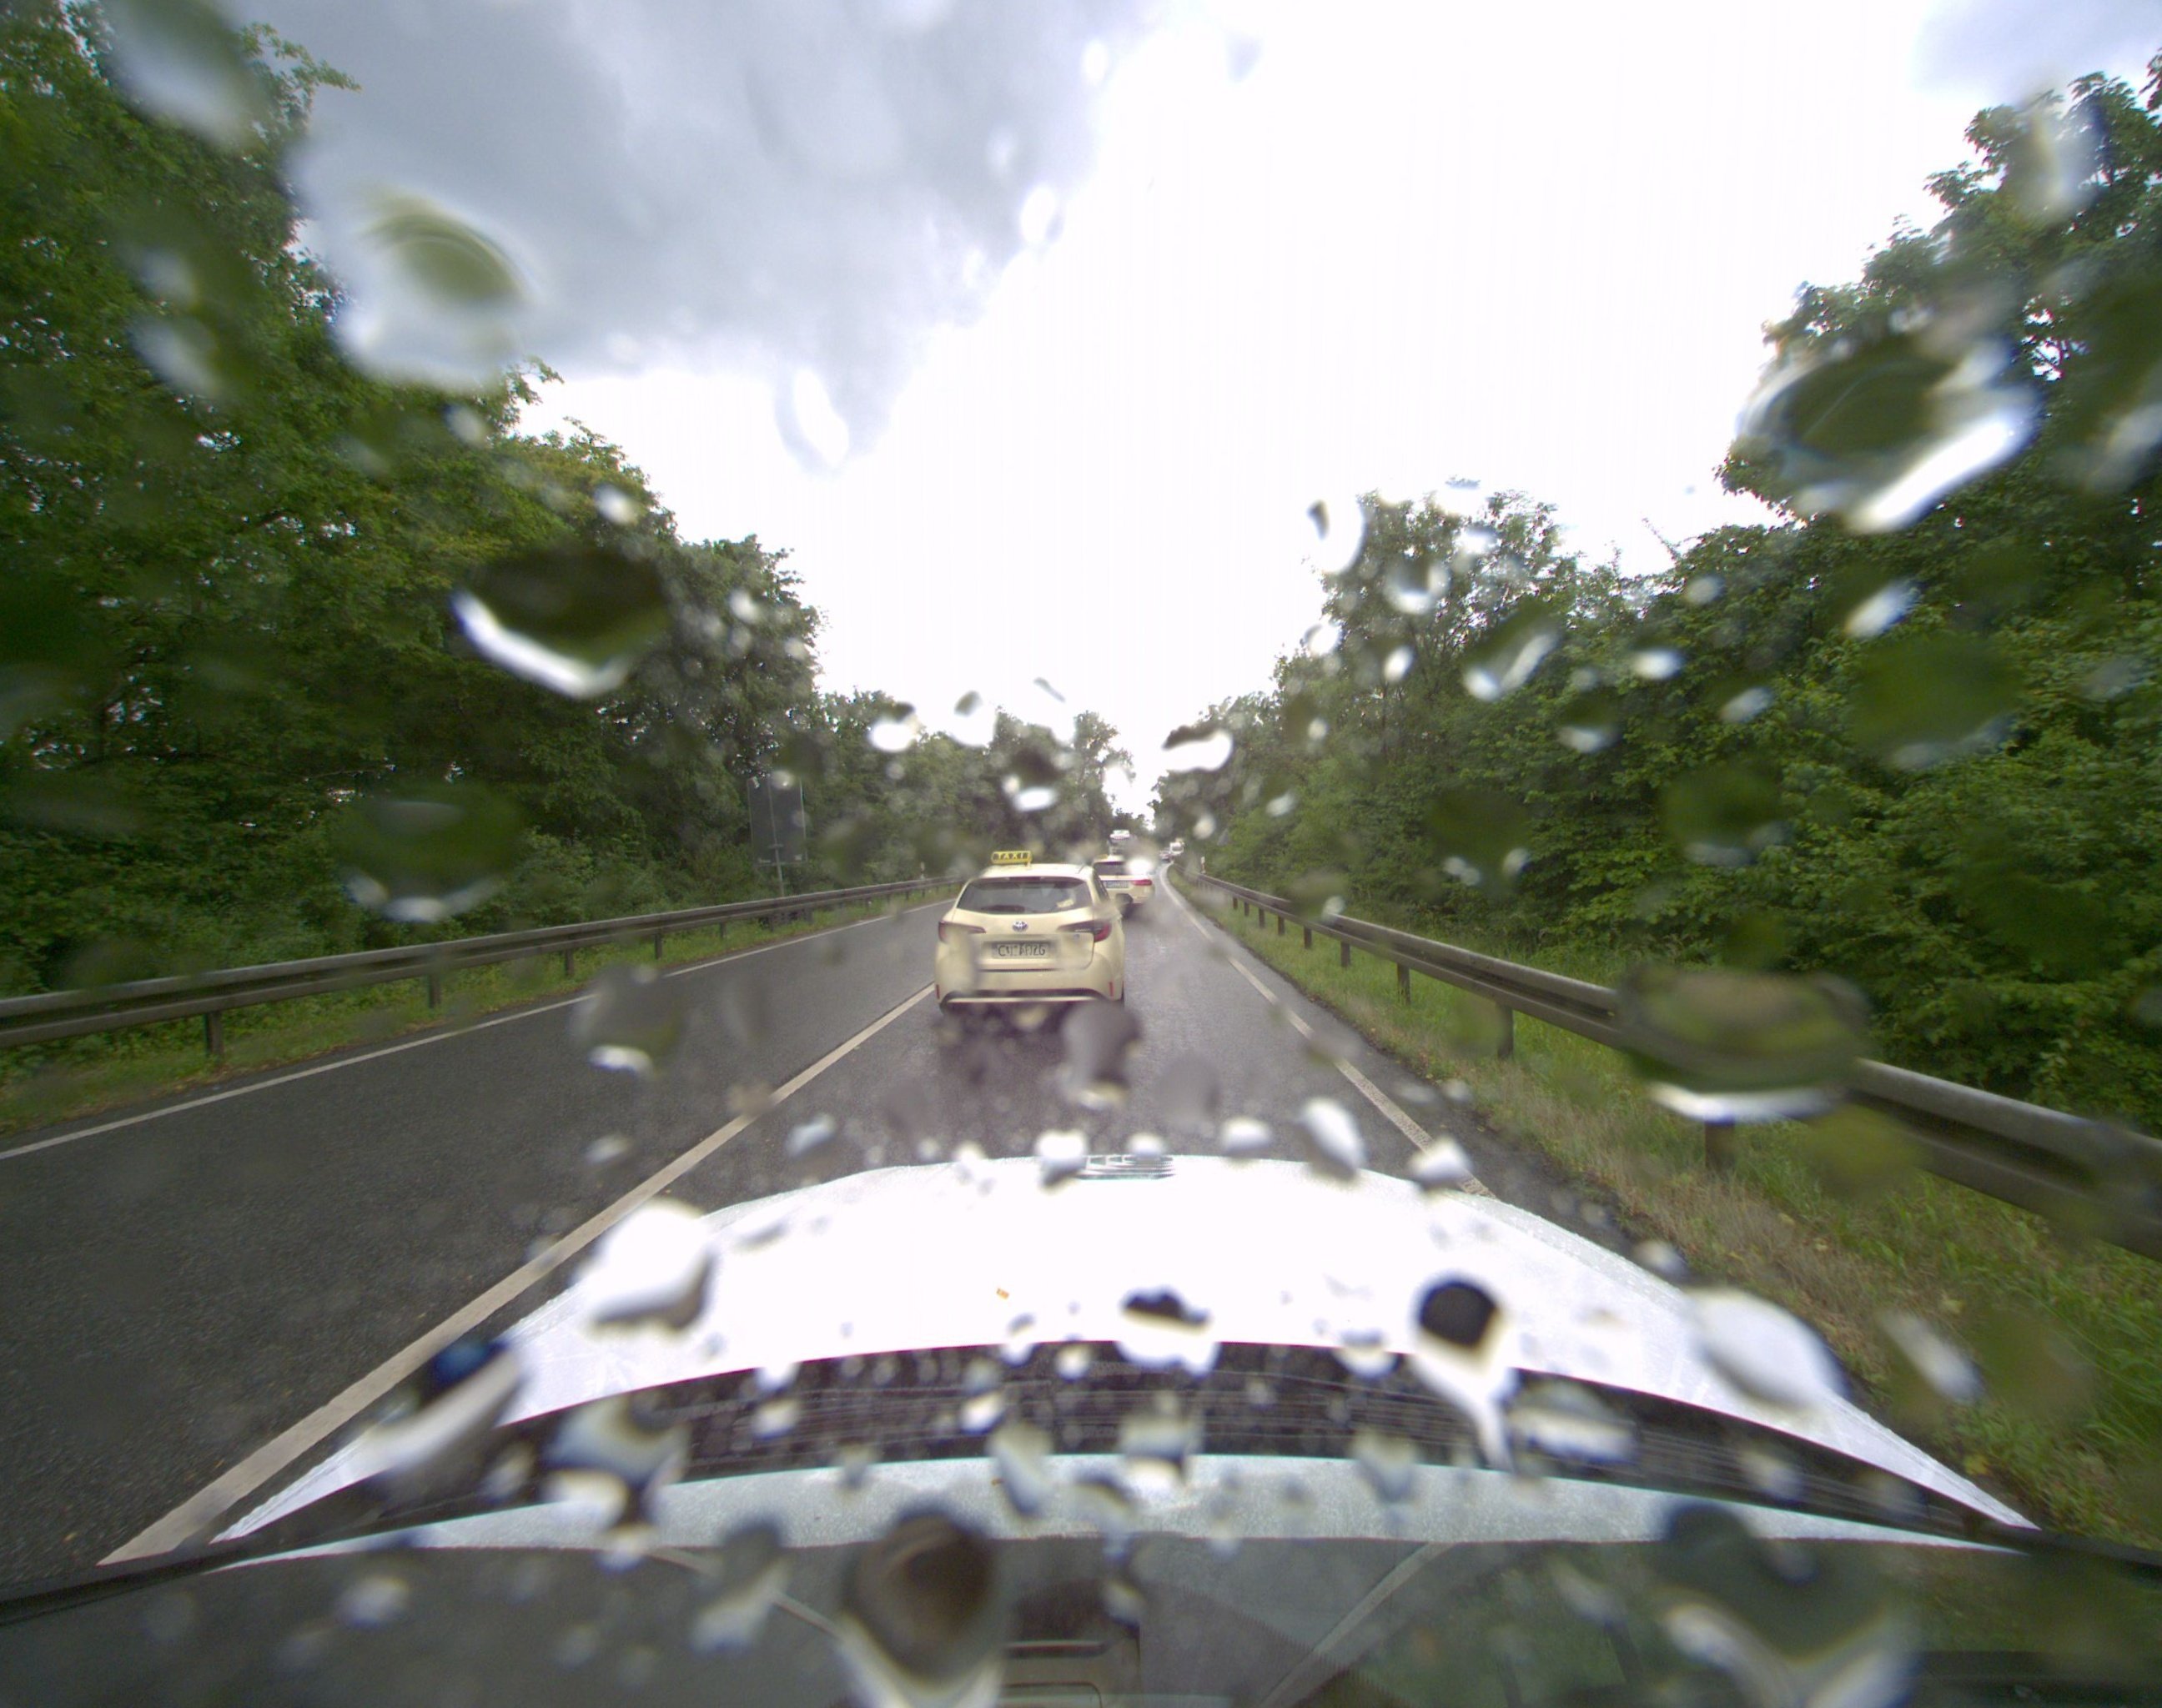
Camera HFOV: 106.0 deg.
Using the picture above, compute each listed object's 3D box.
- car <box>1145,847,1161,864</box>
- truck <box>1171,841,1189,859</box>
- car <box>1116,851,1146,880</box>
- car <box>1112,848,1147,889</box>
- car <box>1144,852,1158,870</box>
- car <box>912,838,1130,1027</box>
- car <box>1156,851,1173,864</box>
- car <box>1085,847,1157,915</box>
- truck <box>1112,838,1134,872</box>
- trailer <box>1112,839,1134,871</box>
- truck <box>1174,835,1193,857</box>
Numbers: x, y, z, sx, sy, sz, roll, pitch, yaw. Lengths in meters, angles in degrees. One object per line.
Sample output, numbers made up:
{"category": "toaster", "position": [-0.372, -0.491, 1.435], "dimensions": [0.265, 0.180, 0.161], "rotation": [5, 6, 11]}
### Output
{"category": "car", "position": [7.410, 0.164, 83.830], "dimensions": [1.608, 1.613, 3.626], "rotation": [0, -1, 5]}
{"category": "truck", "position": [15.398, -0.611, 126.972], "dimensions": [2.537, 2.713, 7.547], "rotation": [0, -1, 6]}
{"category": "car", "position": [2.831, 0.640, 46.090], "dimensions": [1.604, 1.547, 3.818], "rotation": [-1, 0, 4]}
{"category": "car", "position": [1.957, 0.557, 32.766], "dimensions": [1.295, 1.547, 3.263], "rotation": [0, -1, 4]}
{"category": "car", "position": [6.042, 0.589, 69.781], "dimensions": [1.161, 1.547, 2.607], "rotation": [0, -1, 5]}
{"category": "car", "position": [-0.426, 0.680, 8.924], "dimensions": [1.827, 1.580, 4.158], "rotation": [0, -1, 2]}
{"category": "car", "position": [10.743, 0.439, 104.340], "dimensions": [1.758, 1.547, 3.826], "rotation": [0, -1, 11]}
{"category": "car", "position": [1.062, 0.654, 20.932], "dimensions": [1.660, 1.580, 3.896], "rotation": [0, -1, 4]}
{"category": "truck", "position": [5.010, 0.154, 96.599], "dimensions": [2.526, 3.825, 5.249], "rotation": [0, -1, 3]}
{"category": "trailer", "position": [5.325, 0.200, 101.976], "dimensions": [2.525, 3.825, 7.800], "rotation": [0, -1, 4]}
{"category": "truck", "position": [18.413, -1.361, 145.769], "dimensions": [3.088, 3.680, 7.019], "rotation": [0, -1, 10]}
